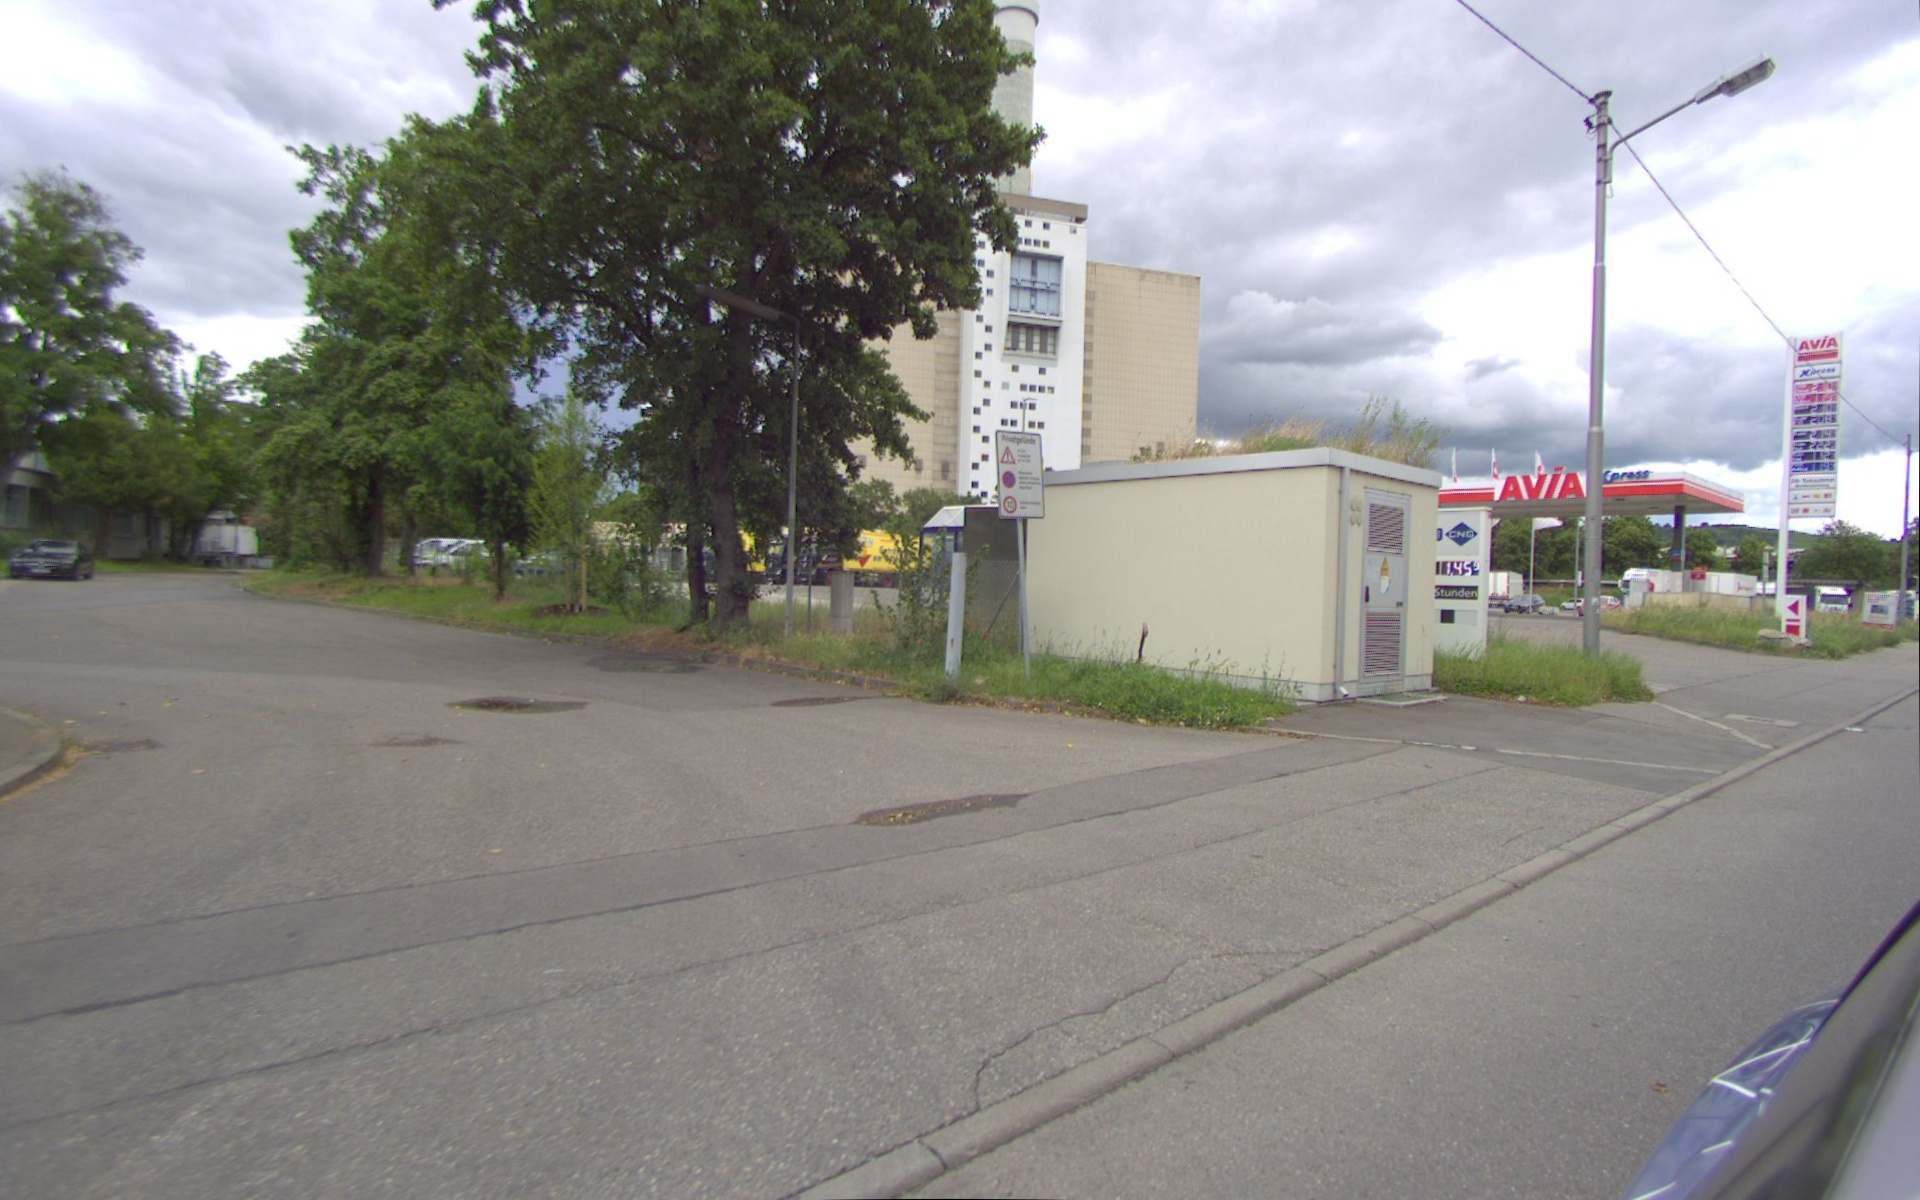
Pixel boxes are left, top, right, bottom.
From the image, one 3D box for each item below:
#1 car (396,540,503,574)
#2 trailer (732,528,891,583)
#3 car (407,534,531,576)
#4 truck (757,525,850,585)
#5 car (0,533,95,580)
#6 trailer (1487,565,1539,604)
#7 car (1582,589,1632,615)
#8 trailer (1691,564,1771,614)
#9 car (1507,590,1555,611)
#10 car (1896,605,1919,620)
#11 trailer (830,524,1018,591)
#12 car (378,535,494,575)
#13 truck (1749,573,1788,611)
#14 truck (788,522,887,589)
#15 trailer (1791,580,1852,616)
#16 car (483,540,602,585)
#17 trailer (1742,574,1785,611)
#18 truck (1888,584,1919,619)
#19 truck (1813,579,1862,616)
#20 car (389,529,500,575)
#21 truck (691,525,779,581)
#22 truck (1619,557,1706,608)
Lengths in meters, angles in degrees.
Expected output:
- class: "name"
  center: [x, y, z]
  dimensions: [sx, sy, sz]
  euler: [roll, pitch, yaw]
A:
- class: "car"
  center: [-27.372, -2.301, 54.419]
  dimensions: [4.860, 1.671, 2.107]
  euler: [1, 2, -20]
- class: "trailer"
  center: [-11.747, -3.480, 81.830]
  dimensions: [13.456, 3.963, 2.694]
  euler: [0, 2, -43]
- class: "car"
  center: [-21.588, -1.954, 44.613]
  dimensions: [4.574, 1.666, 1.965]
  euler: [0, 2, -42]
- class: "truck"
  center: [-11.008, -3.160, 71.642]
  dimensions: [5.938, 3.963, 2.694]
  euler: [0, 2, -43]
- class: "car"
  center: [-33.130, -1.588, 36.826]
  dimensions: [1.961, 1.539, 4.445]
  euler: [2, 2, -34]
- class: "trailer"
  center: [61.324, -1.662, 112.055]
  dimensions: [3.619, 3.959, 13.566]
  euler: [2, 1, 35]
- class: "car"
  center: [44.276, 0.144, 69.214]
  dimensions: [4.143, 1.590, 1.768]
  euler: [1, 3, -42]
- class: "trailer"
  center: [67.032, -0.910, 87.909]
  dimensions: [10.216, 4.015, 2.966]
  euler: [1, 3, -39]
- class: "car"
  center: [41.005, 0.038, 72.659]
  dimensions: [4.143, 1.407, 1.768]
  euler: [1, 3, -42]
- class: "car"
  center: [96.632, 1.257, 103.002]
  dimensions: [3.980, 1.513, 1.496]
  euler: [1, 1, -40]
- class: "trailer"
  center: [-2.270, -2.948, 74.292]
  dimensions: [15.457, 4.313, 3.025]
  euler: [0, 2, -43]
- class: "car"
  center: [-25.287, -2.172, 49.024]
  dimensions: [4.780, 1.758, 2.106]
  euler: [1, 2, -22]
- class: "truck"
  center: [92.789, -0.896, 116.254]
  dimensions: [2.857, 4.145, 6.672]
  euler: [3, 2, 35]
- class: "truck"
  center: [-8.260, -2.980, 68.808]
  dimensions: [5.938, 4.315, 3.048]
  euler: [1, 2, -43]
- class: "trailer"
  center: [107.227, -0.328, 126.160]
  dimensions: [2.815, 4.145, 13.263]
  euler: [3, 2, 28]
- class: "car"
  center: [-15.880, -1.420, 38.568]
  dimensions: [3.816, 1.549, 1.736]
  euler: [0, 2, -41]
- class: "trailer"
  center: [96.160, -0.895, 121.293]
  dimensions: [2.822, 4.145, 13.230]
  euler: [3, 2, 34]
- class: "truck"
  center: [114.258, 0.182, 121.616]
  dimensions: [2.855, 4.063, 6.675]
  euler: [3, 2, 33]
- class: "truck"
  center: [103.833, -0.290, 119.835]
  dimensions: [2.850, 4.145, 6.688]
  euler: [3, 2, 29]
- class: "car"
  center: [-26.317, -2.440, 51.867]
  dimensions: [4.799, 2.129, 2.107]
  euler: [1, 2, -20]
- class: "truck"
  center: [-17.047, -3.527, 76.937]
  dimensions: [5.938, 3.963, 2.694]
  euler: [0, 2, -43]
- class: "truck"
  center: [61.295, -1.466, 88.171]
  dimensions: [12.841, 4.015, 3.081]
  euler: [1, 3, -42]
